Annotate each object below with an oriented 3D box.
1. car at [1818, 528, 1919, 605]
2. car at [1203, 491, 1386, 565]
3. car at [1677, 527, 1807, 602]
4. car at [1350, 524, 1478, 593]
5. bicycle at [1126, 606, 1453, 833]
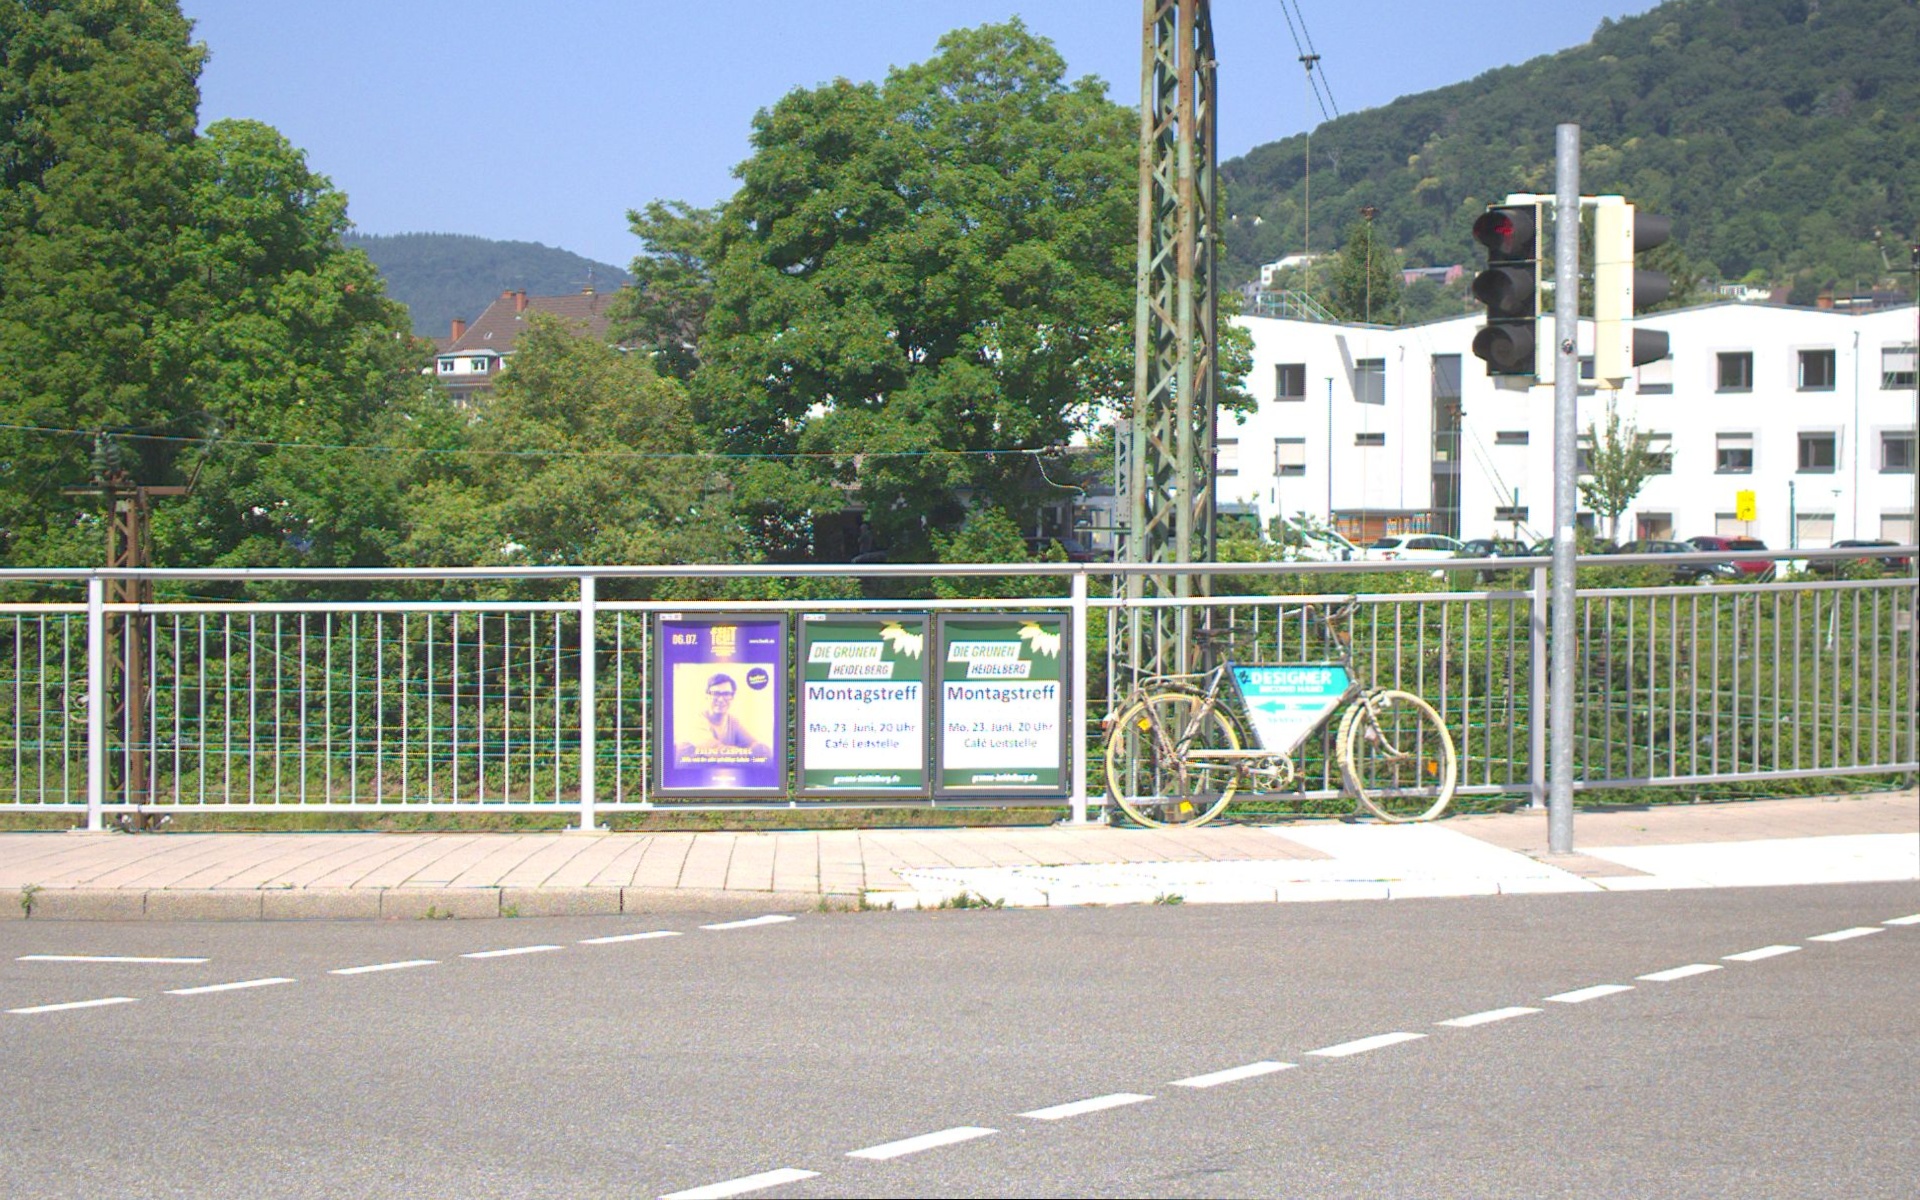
[{"bbox_3d":[25.151,-0.938,93.625,1.998,2.006,4.461,1,2,35],"label":"car"},{"bbox_3d":[9.720,-2.111,99.854,4.979,2.105,1.998,1,2,18],"label":"car"},{"bbox_3d":[21.911,-1.024,96.222,1.998,2.006,4.461,1,2,35],"label":"car"},{"bbox_3d":[13.783,-1.280,104.105,1.998,2.006,4.461,1,2,35],"label":"car"},{"bbox_3d":[1.653,0.589,17.234,1.614,1.097,0.298,0,2,-12],"label":"bicycle"}]
